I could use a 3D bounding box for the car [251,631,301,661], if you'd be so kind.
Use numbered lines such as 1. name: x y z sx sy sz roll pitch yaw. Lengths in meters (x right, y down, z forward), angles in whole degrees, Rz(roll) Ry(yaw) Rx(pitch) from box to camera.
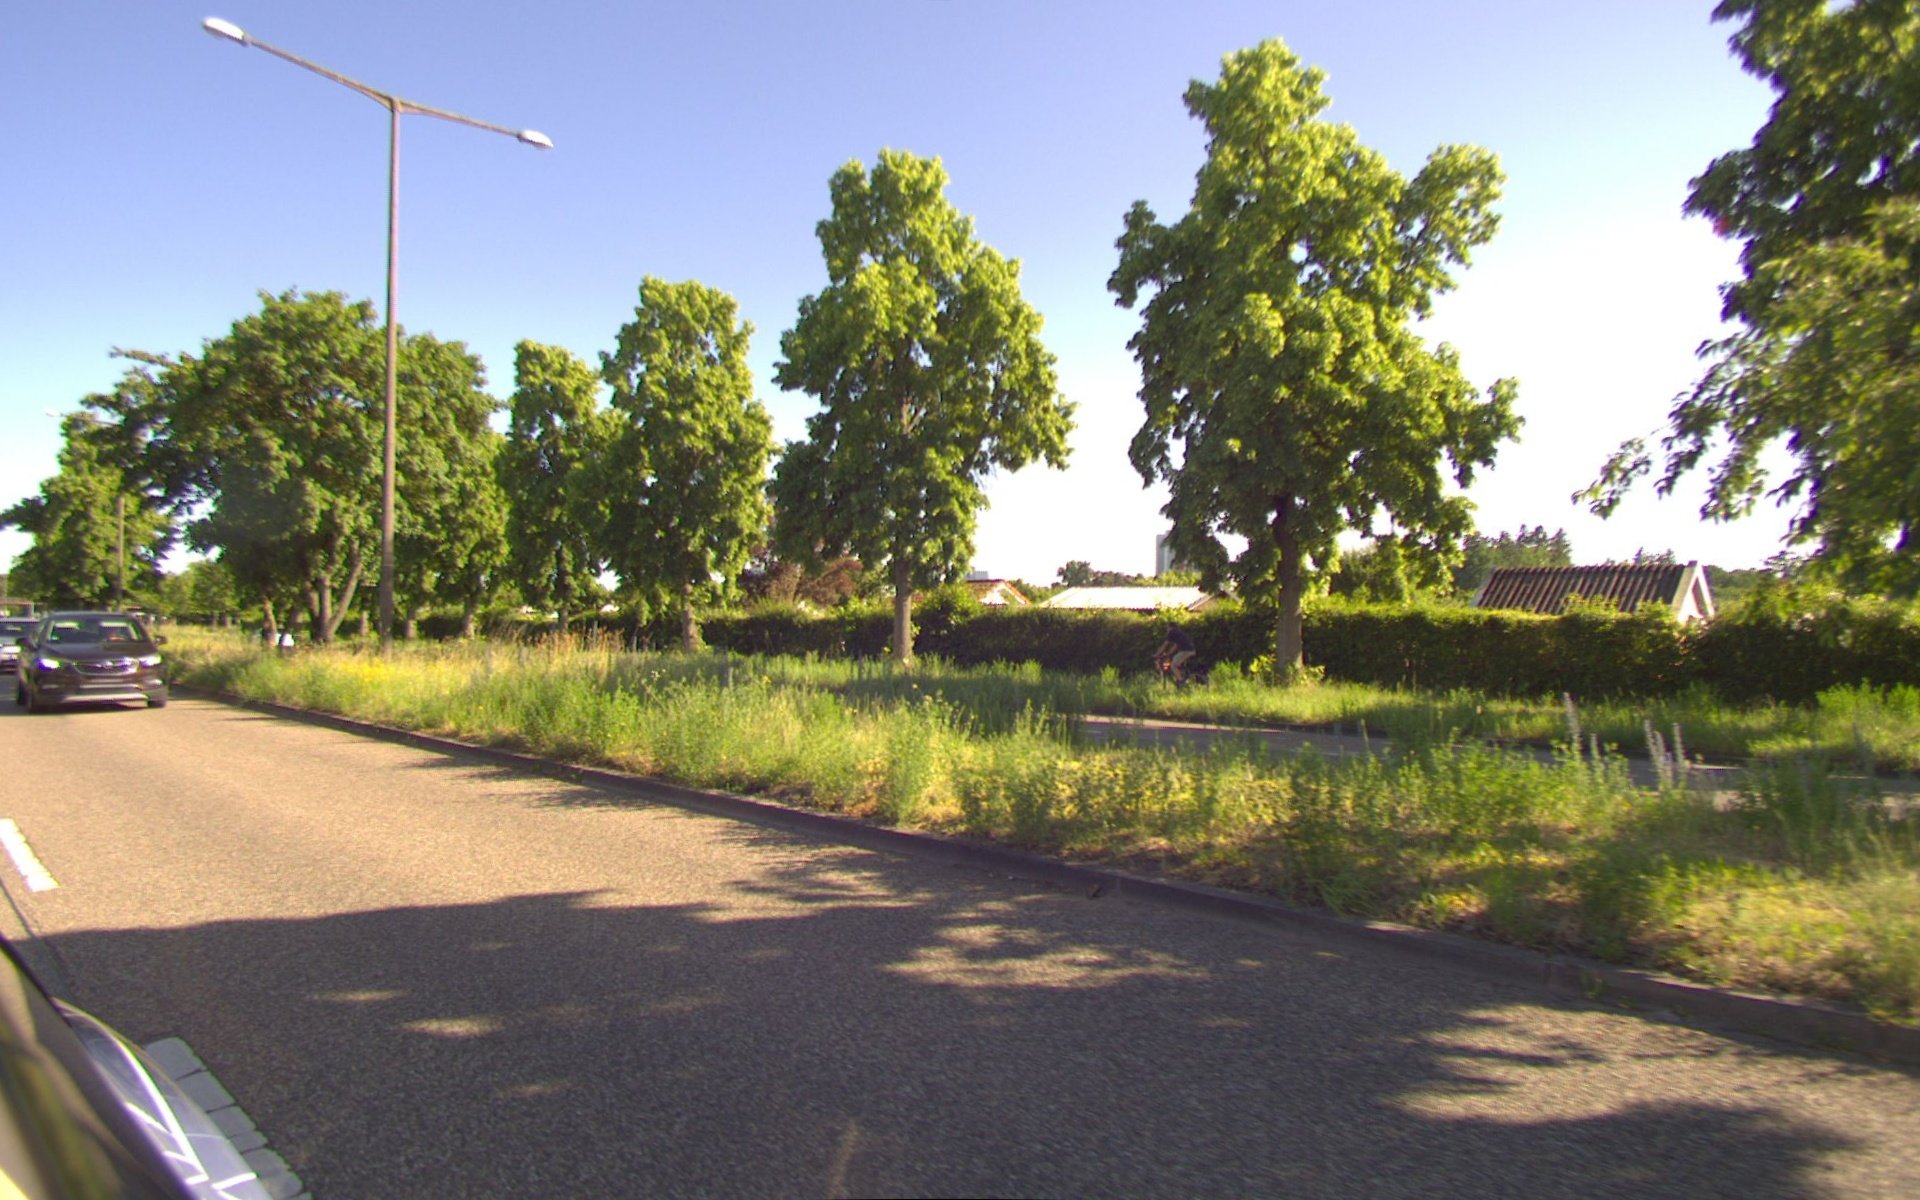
1. car: -41.946 2.814 62.038 1.915 1.669 4.003 -1 0 -44

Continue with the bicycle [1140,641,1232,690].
1. bicycle: 4.853 1.390 21.824 1.841 1.004 0.682 -1 -2 43

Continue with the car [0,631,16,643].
1. car: -130.898 5.053 138.520 3.997 1.697 1.973 -1 -2 40

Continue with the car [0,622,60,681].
1. car: -27.499 1.446 29.384 1.798 1.574 4.649 1 -2 -45

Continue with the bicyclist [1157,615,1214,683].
1. bicyclist: 4.854 1.036 21.792 1.000 1.432 0.682 -1 -2 42

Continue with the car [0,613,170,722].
1. car: -15.261 1.056 17.541 4.515 1.627 1.786 0 -1 43

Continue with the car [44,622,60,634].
1. car: -150.055 4.618 167.259 3.573 1.818 1.609 -1 -2 43
